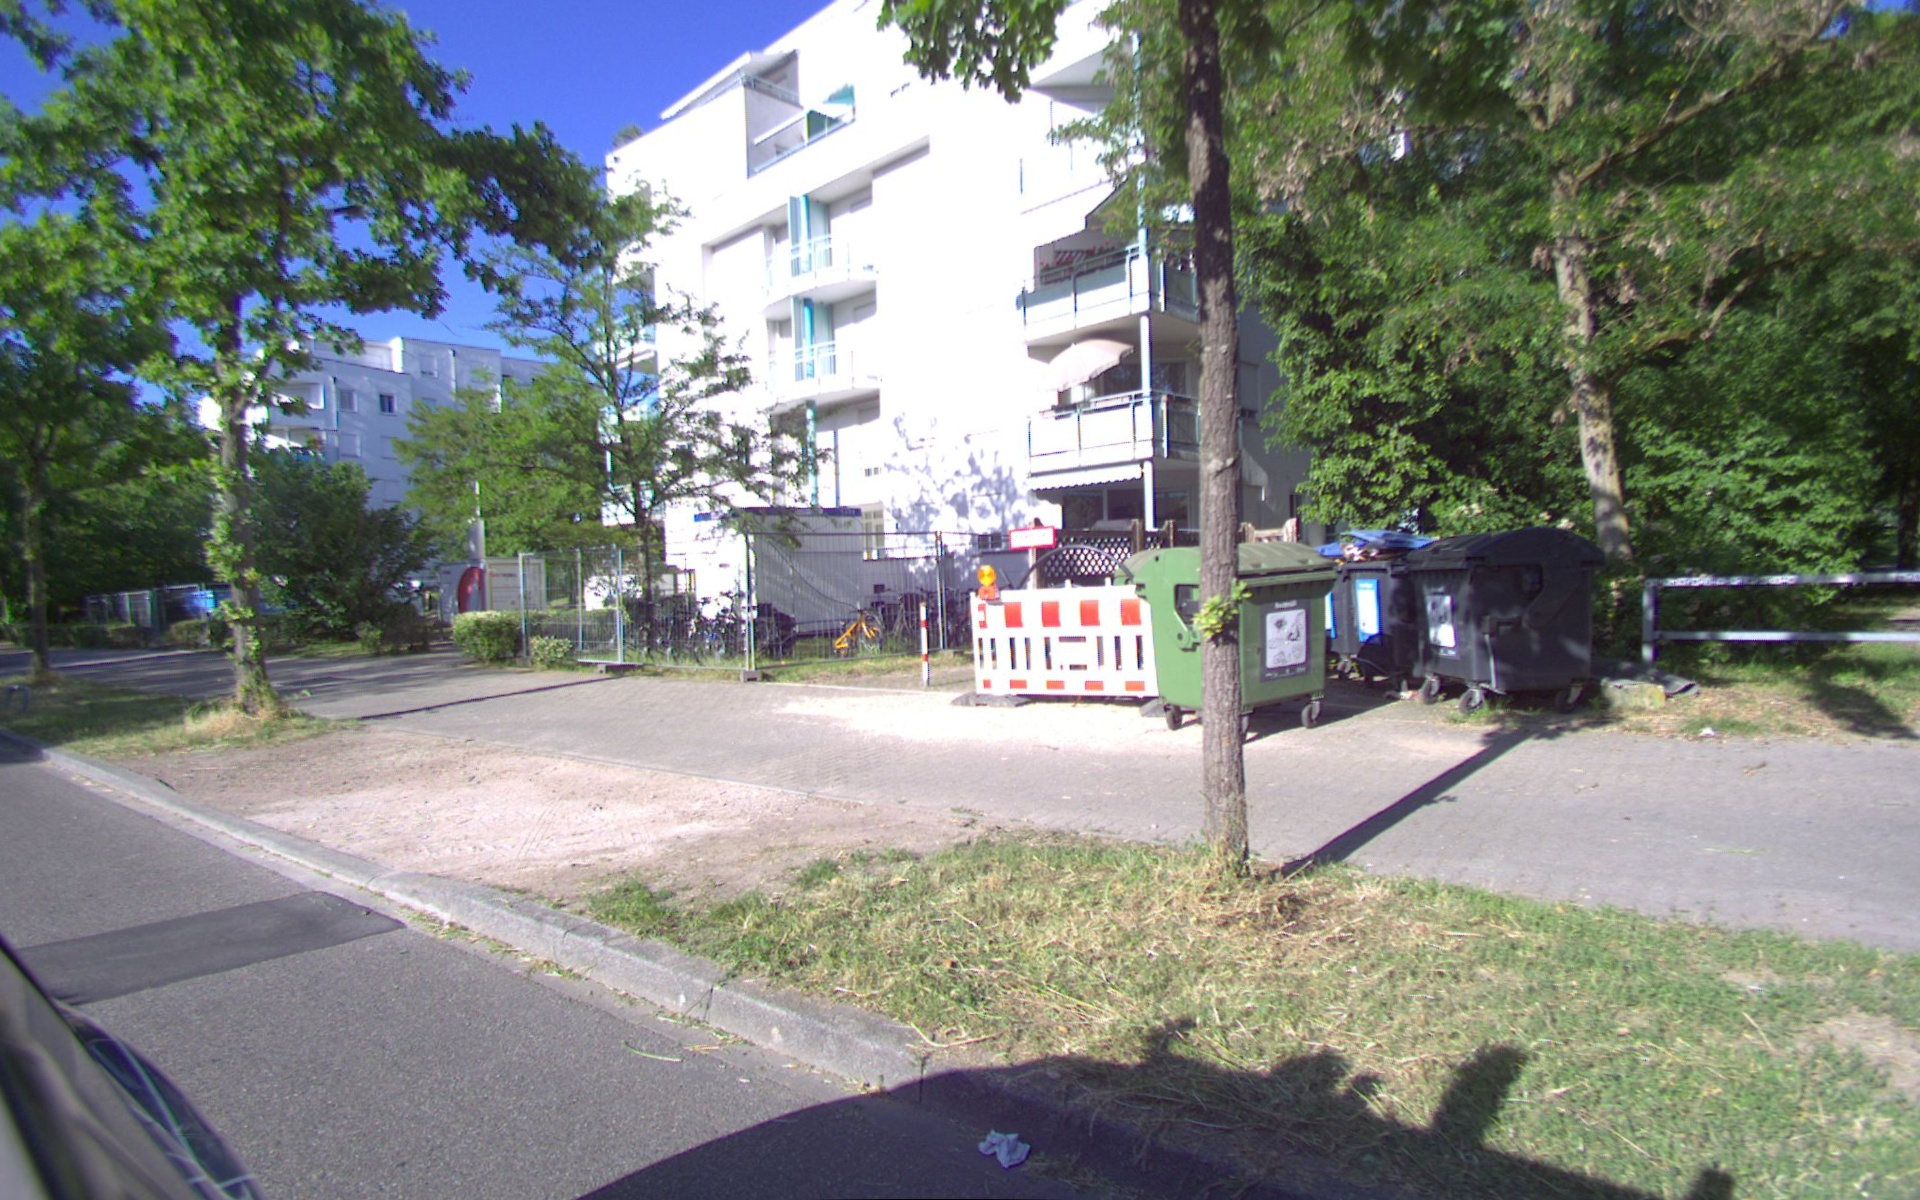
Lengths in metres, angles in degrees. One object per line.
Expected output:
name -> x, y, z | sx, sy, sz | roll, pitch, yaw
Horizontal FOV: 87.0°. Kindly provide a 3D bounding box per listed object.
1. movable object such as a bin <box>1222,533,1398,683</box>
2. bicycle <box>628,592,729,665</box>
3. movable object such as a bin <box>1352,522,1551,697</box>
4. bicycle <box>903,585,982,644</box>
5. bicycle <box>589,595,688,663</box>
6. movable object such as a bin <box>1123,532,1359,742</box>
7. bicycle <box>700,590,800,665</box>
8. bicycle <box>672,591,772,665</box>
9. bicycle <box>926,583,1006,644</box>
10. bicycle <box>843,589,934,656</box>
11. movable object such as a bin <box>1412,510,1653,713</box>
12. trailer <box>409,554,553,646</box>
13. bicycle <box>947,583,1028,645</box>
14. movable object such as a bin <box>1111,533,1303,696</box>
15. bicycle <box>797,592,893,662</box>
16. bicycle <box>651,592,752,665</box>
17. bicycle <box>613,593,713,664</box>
movable object such as a bin -> 3.660, 0.064, 10.662 | 1.141, 1.446, 1.268 | -3, 1, -26
bicycle -> -4.485, 0.431, 16.264 | 0.398, 1.034, 1.827 | -1, 2, 27
movable object such as a bin -> 4.413, 0.079, 9.213 | 1.258, 1.446, 1.143 | -2, 1, 6
bicycle -> -0.316, 0.253, 19.340 | 1.676, 1.034, 0.401 | -3, 2, -45
bicycle -> -5.462, 0.463, 17.301 | 0.398, 1.034, 1.858 | -1, 2, 27
movable object such as a bin -> 2.161, 0.236, 7.833 | 1.252, 1.446, 1.184 | -3, 1, -34
bicycle -> -3.223, 0.399, 15.699 | 0.398, 1.034, 1.904 | -1, 2, 27
bicycle -> -3.688, 0.411, 15.827 | 0.398, 1.034, 1.827 | -1, 2, 27
bicycle -> 0.130, 0.227, 18.821 | 1.676, 1.034, 0.401 | -3, 2, -45
bicycle -> -1.193, 0.361, 16.588 | 1.700, 1.034, 0.395 | 0, 2, 42
movable object such as a bin -> 4.452, 0.080, 8.001 | 1.258, 1.446, 1.143 | -2, 1, 6
trailer -> -12.598, 0.010, 26.476 | 4.347, 2.135, 1.844 | -1, 3, 44
bicycle -> 0.516, 0.233, 18.419 | 1.676, 1.034, 0.401 | -3, 2, -45
movable object such as a bin -> 2.408, 0.115, 10.001 | 1.251, 1.446, 1.330 | -3, 1, -22
bicycle -> -1.811, 0.406, 15.786 | 1.699, 1.034, 0.395 | -1, 2, 39
bicycle -> -4.056, 0.422, 16.043 | 0.398, 1.034, 1.848 | -1, 2, 27
bicycle -> -4.830, 0.434, 16.590 | 0.398, 1.034, 1.844 | -1, 2, 27
